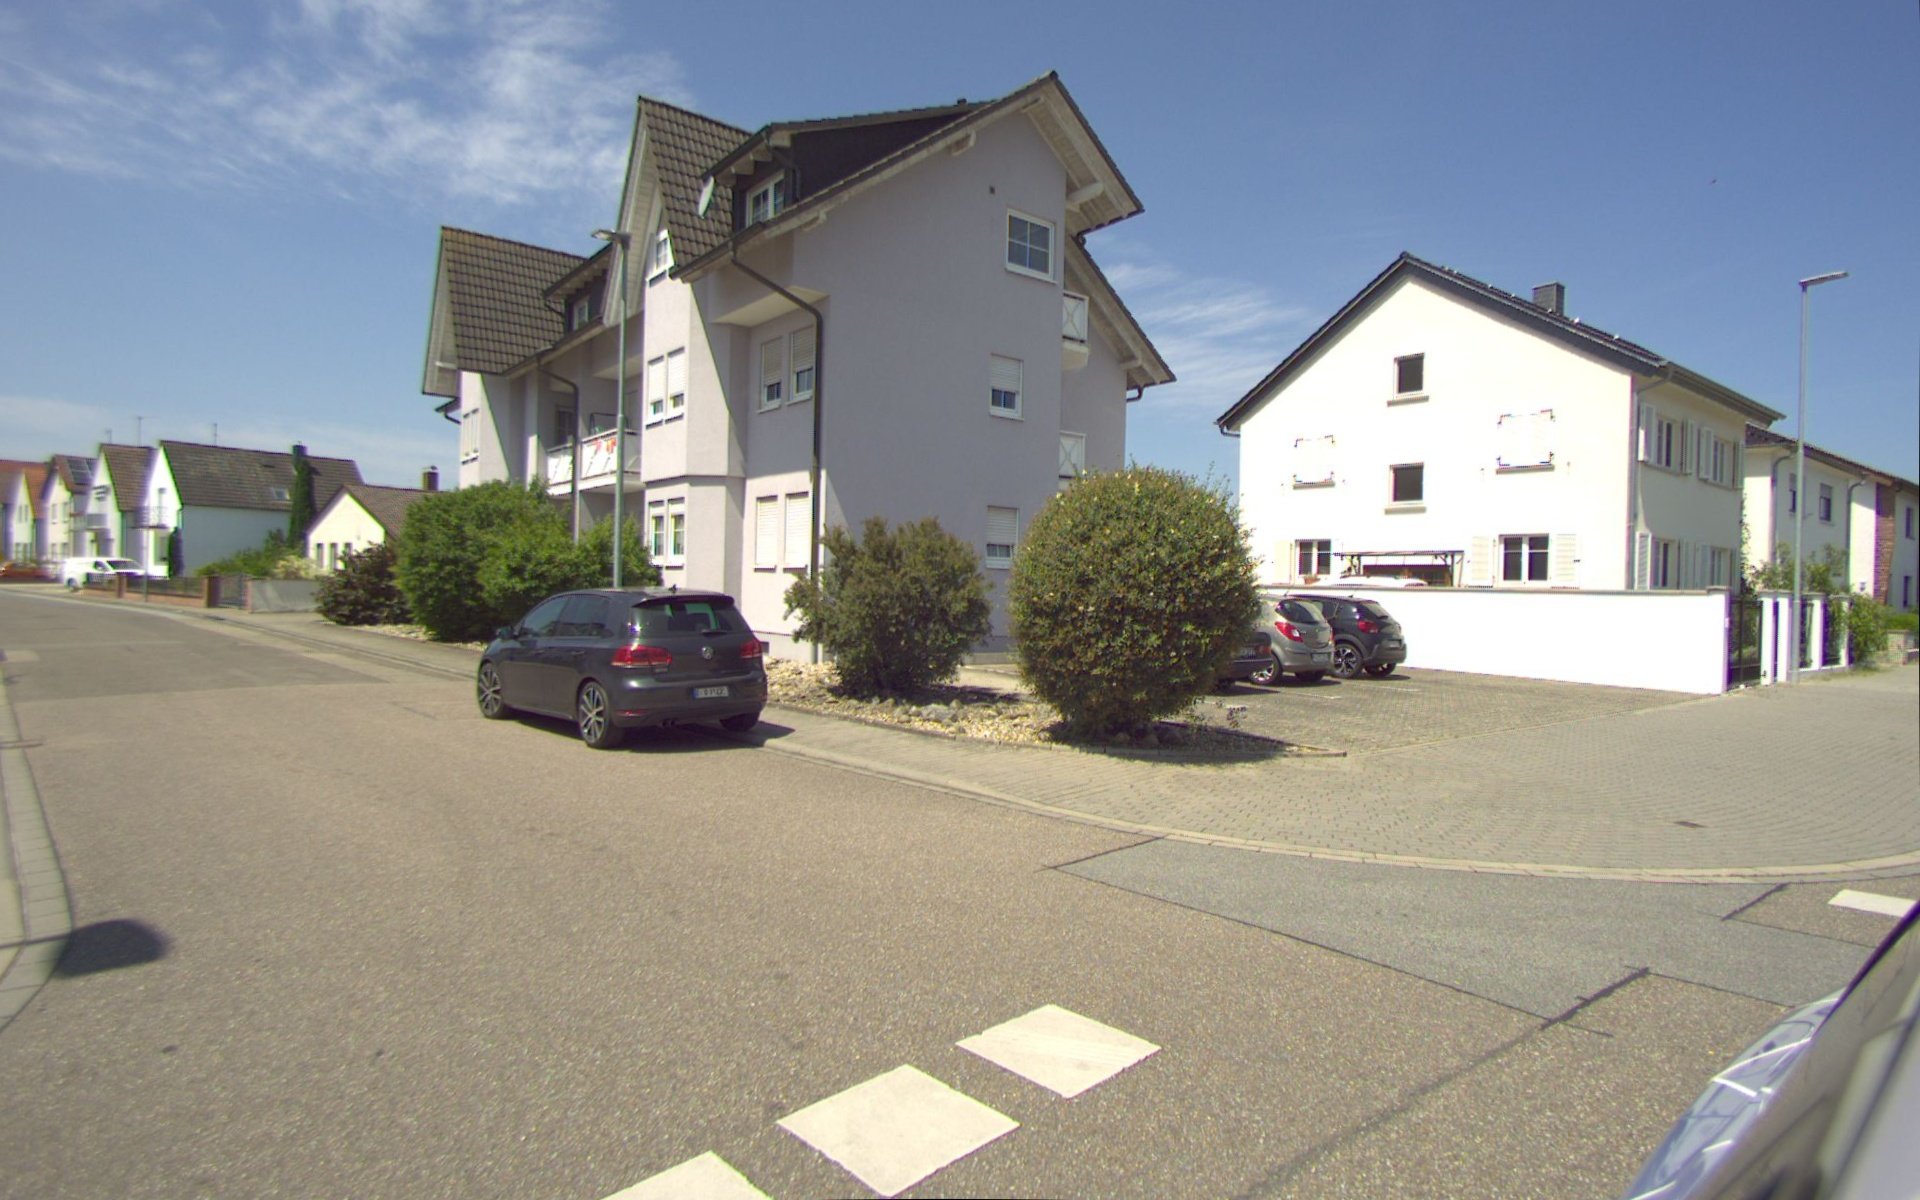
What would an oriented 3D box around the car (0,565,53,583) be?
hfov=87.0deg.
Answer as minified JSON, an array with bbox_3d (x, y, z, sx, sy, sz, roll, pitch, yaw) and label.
[{"bbox_3d":[-65.394,-1.796,70.410,1.296,1.181,3.344,2,1,43],"label":"car"}]

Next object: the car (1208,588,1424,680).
[{"bbox_3d":[6.712,0.589,19.286,1.637,1.515,3.503,1,1,-44],"label":"car"}]

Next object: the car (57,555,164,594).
[{"bbox_3d":[-43.921,-1.324,52.345,4.388,1.900,1.993,2,1,12],"label":"car"}]

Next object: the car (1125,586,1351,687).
[{"bbox_3d":[4.758,0.554,17.609,1.635,1.513,3.450,1,1,-42],"label":"car"}]

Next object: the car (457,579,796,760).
[{"bbox_3d":[-3.646,0.572,10.670,3.992,1.486,1.728,2,1,44],"label":"car"}]

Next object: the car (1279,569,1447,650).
[{"bbox_3d":[9.830,0.192,24.841,1.739,1.835,3.394,1,1,-39],"label":"car"}]

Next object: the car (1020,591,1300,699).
[{"bbox_3d":[3.017,0.609,16.005,1.635,1.391,4.208,1,1,-42],"label":"car"}]
